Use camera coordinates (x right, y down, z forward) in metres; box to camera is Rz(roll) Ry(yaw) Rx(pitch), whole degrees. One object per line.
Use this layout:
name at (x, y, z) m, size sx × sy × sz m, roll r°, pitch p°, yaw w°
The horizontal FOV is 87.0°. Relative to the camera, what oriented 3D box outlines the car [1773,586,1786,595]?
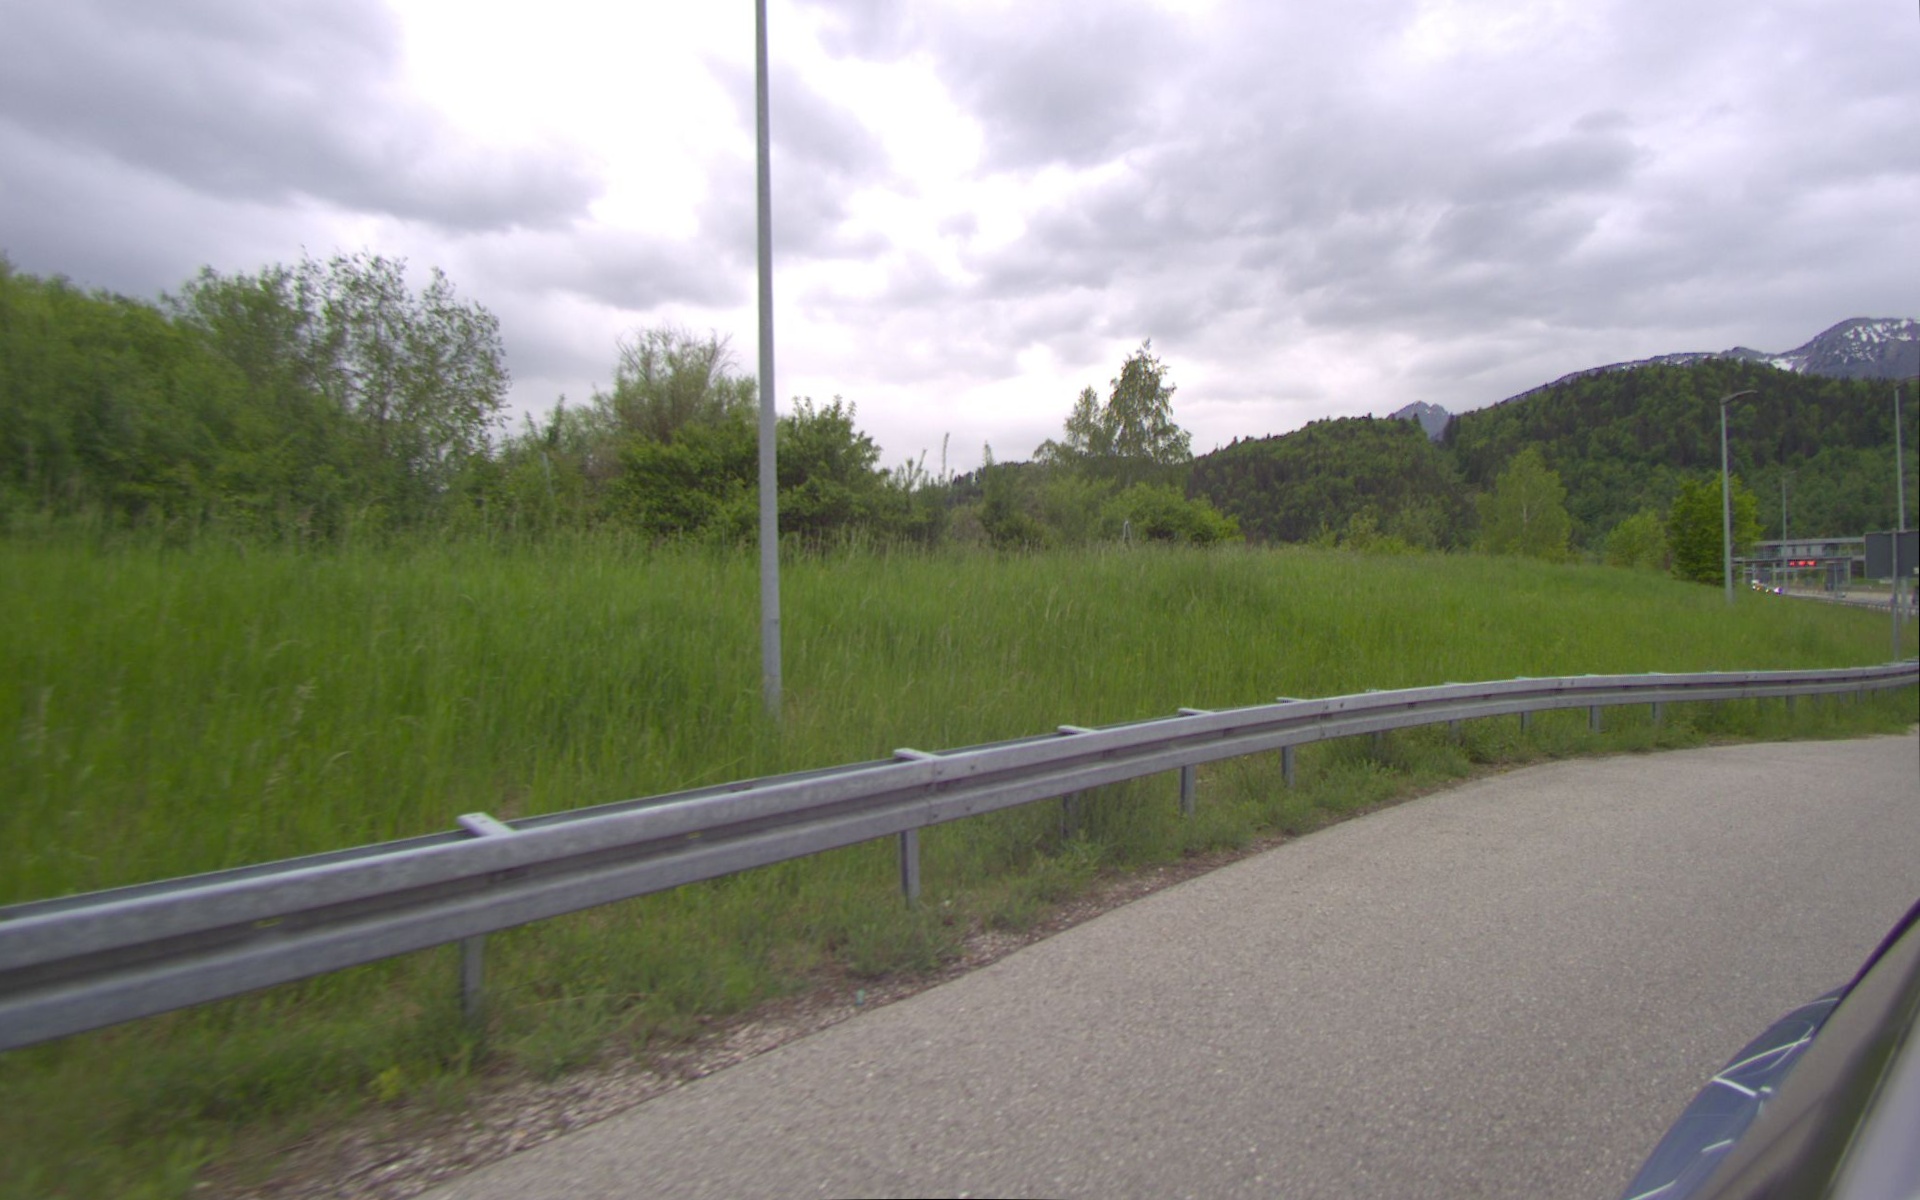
car at (159.493, -1.817, 196.960) m, size 1.728 × 1.677 × 3.947 m, roll 1°, pitch 1°, yaw 36°
